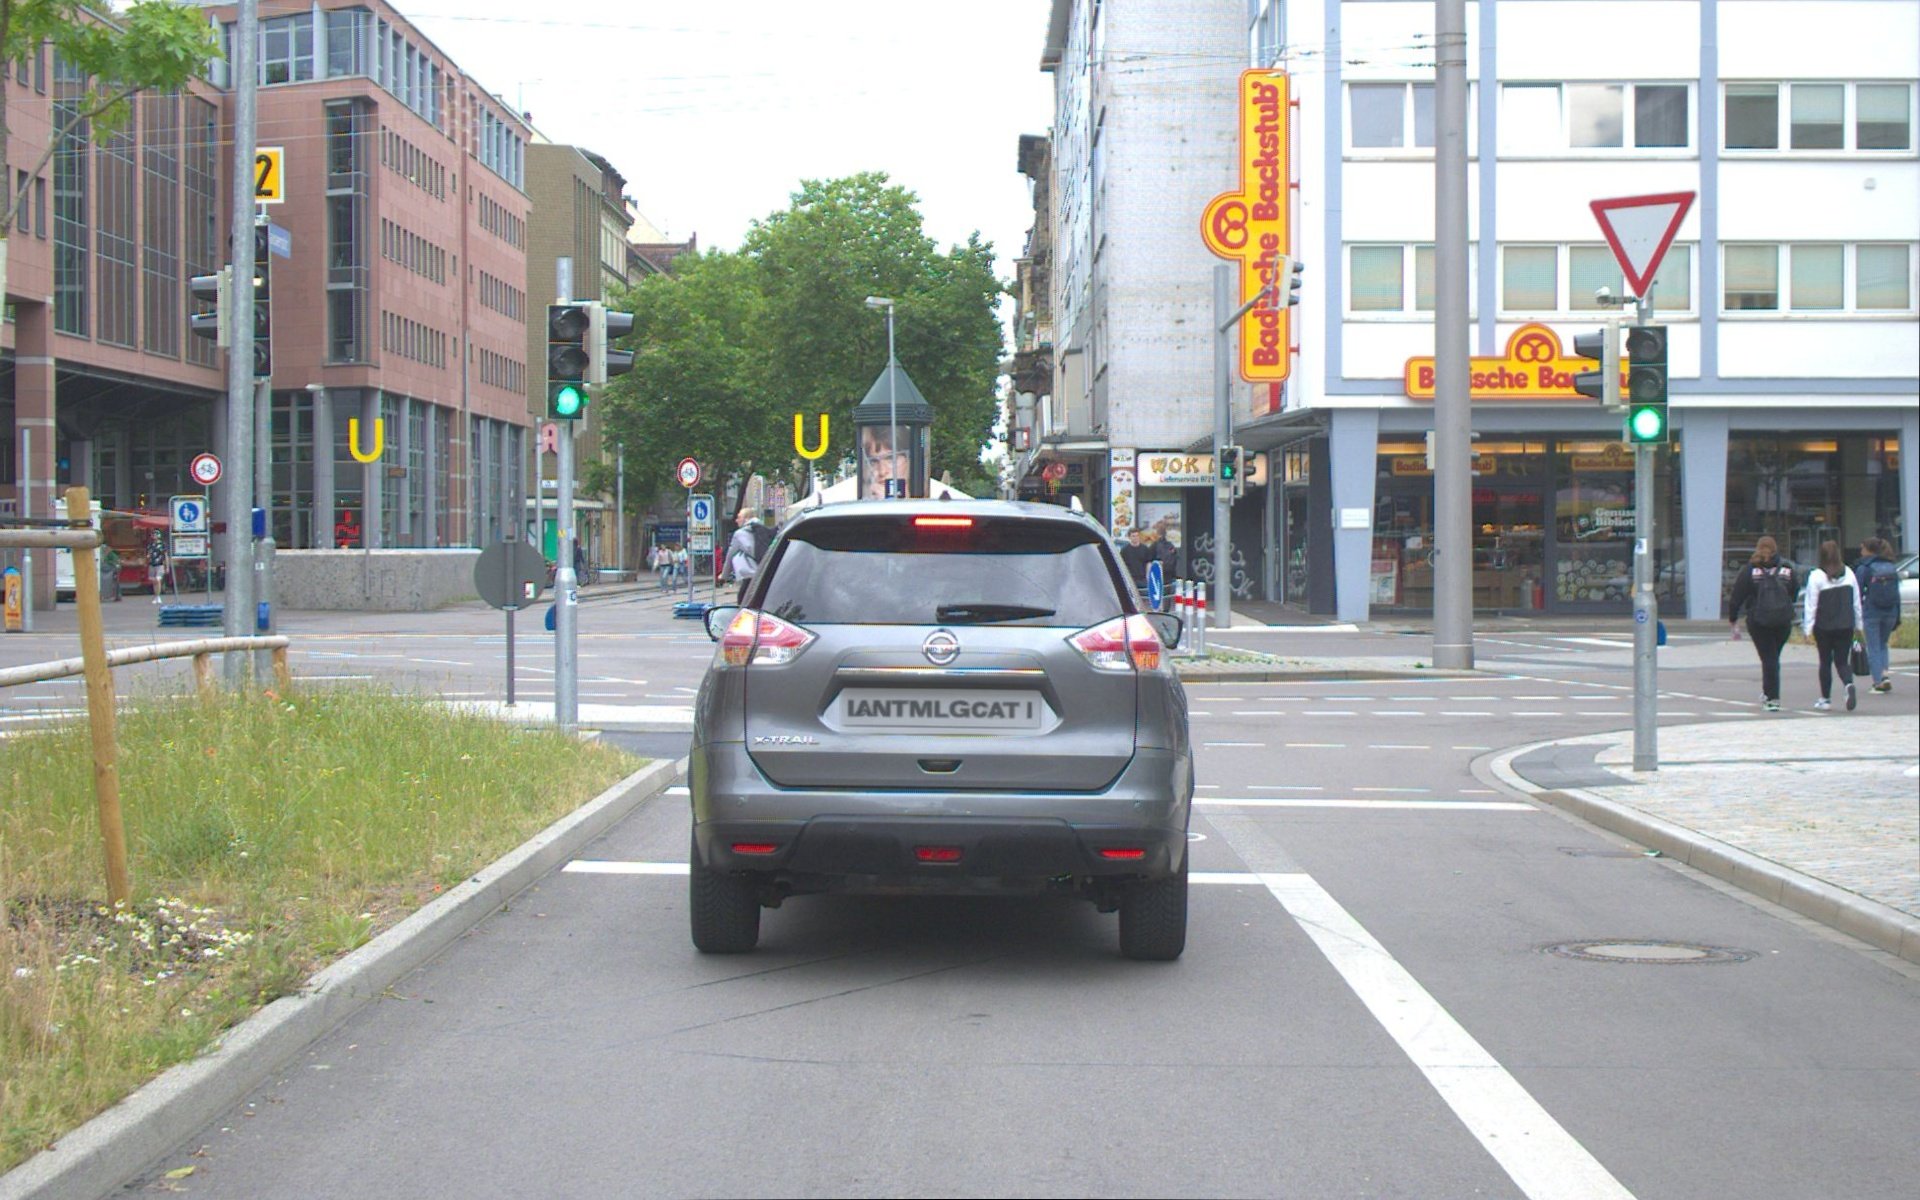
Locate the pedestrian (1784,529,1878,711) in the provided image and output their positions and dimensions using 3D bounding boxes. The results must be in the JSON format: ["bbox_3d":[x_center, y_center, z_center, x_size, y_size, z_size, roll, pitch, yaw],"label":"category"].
[{"bbox_3d":[8.559,0.187,33.795,0.621,1.755,0.780,1,1,-7],"label":"pedestrian"}]

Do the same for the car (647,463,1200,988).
[{"bbox_3d":[-0.086,0.434,13.975,1.863,1.769,4.566,-1,0,1],"label":"car"}]

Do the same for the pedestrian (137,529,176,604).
[{"bbox_3d":[-19.936,-0.842,85.306,0.732,1.835,0.702,0,1,-33],"label":"pedestrian"}]

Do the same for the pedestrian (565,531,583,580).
[{"bbox_3d":[-13.639,-1.567,121.590,0.600,1.708,0.656,1,1,-7],"label":"pedestrian"}]

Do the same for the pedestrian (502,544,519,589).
[{"bbox_3d":[-17.285,-1.283,132.150,0.600,1.708,0.656,1,1,-7],"label":"pedestrian"}]

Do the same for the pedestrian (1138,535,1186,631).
[{"bbox_3d":[3.648,-0.308,62.047,0.710,1.699,0.734,1,1,13],"label":"pedestrian"}]

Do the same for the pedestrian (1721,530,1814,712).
[{"bbox_3d":[7.911,0.197,33.705,0.621,1.755,0.780,1,1,-7],"label":"pedestrian"}]

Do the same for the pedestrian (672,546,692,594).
[{"bbox_3d":[-8.988,-0.980,111.040,0.600,1.531,0.656,1,1,-7],"label":"pedestrian"}]

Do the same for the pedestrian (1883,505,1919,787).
[{"bbox_3d":[6.214,0.286,21.693,0.522,1.755,0.602,1,1,-7],"label":"pedestrian"}]

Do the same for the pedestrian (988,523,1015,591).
[{"bbox_3d":[1.038,-1.078,86.843,0.643,1.699,0.559,1,1,1],"label":"pedestrian"}]

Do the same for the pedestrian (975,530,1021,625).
[{"bbox_3d":[0.705,-0.426,63.965,0.732,1.739,0.663,1,1,-7],"label":"pedestrian"}]

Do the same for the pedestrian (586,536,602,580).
[{"bbox_3d":[-14.460,-1.657,135.847,0.600,1.708,0.656,1,1,-7],"label":"pedestrian"}]

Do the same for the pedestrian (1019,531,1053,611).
[{"bbox_3d":[1.742,-0.673,78.470,0.737,1.815,0.662,0,1,-2],"label":"pedestrian"}]

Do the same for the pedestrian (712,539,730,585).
[{"bbox_3d":[-8.895,-1.414,127.923,0.600,1.708,0.656,1,1,-7],"label":"pedestrian"}]

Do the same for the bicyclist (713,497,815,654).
[{"bbox_3d":[-2.281,-0.288,40.016,0.834,1.806,0.877,0,1,-33],"label":"bicyclist"}]

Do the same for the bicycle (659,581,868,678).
[{"bbox_3d":[-2.327,0.321,40.138,0.902,1.041,3.277,0,1,-33],"label":"bicycle"}]

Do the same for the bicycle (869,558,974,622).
[{"bbox_3d":[-0.727,-0.186,64.364,1.866,1.168,0.531,1,1,-13],"label":"bicycle"}]

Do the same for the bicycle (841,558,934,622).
[{"bbox_3d":[-1.367,-0.189,64.746,1.695,1.168,0.437,1,1,-11],"label":"bicycle"}]

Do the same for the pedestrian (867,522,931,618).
[{"bbox_3d":[-1.102,-0.549,62.413,0.927,1.699,0.734,1,1,20],"label":"pedestrian"}]

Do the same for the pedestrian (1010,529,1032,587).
[{"bbox_3d":[1.801,-1.251,101.710,0.611,1.699,0.619,1,1,1],"label":"pedestrian"}]

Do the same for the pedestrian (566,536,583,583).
[{"bbox_3d":[-14.088,-1.469,125.537,0.600,1.708,0.656,1,1,-7],"label":"pedestrian"}]

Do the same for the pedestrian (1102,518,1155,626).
[{"bbox_3d":[2.898,-0.492,59.232,0.712,1.826,1.017,1,1,-7],"label":"pedestrian"}]

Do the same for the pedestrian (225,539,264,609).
[{"bbox_3d":[-18.816,-0.687,90.412,0.701,1.835,0.734,1,1,20],"label":"pedestrian"}]

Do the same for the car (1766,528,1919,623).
[{"bbox_3d":[15.451,-0.411,55.257,4.551,1.476,1.749,-1,1,-2],"label":"car"}]

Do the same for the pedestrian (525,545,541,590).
[{"bbox_3d":[-16.419,-1.234,132.165,0.600,1.708,0.656,1,1,-7],"label":"pedestrian"}]
